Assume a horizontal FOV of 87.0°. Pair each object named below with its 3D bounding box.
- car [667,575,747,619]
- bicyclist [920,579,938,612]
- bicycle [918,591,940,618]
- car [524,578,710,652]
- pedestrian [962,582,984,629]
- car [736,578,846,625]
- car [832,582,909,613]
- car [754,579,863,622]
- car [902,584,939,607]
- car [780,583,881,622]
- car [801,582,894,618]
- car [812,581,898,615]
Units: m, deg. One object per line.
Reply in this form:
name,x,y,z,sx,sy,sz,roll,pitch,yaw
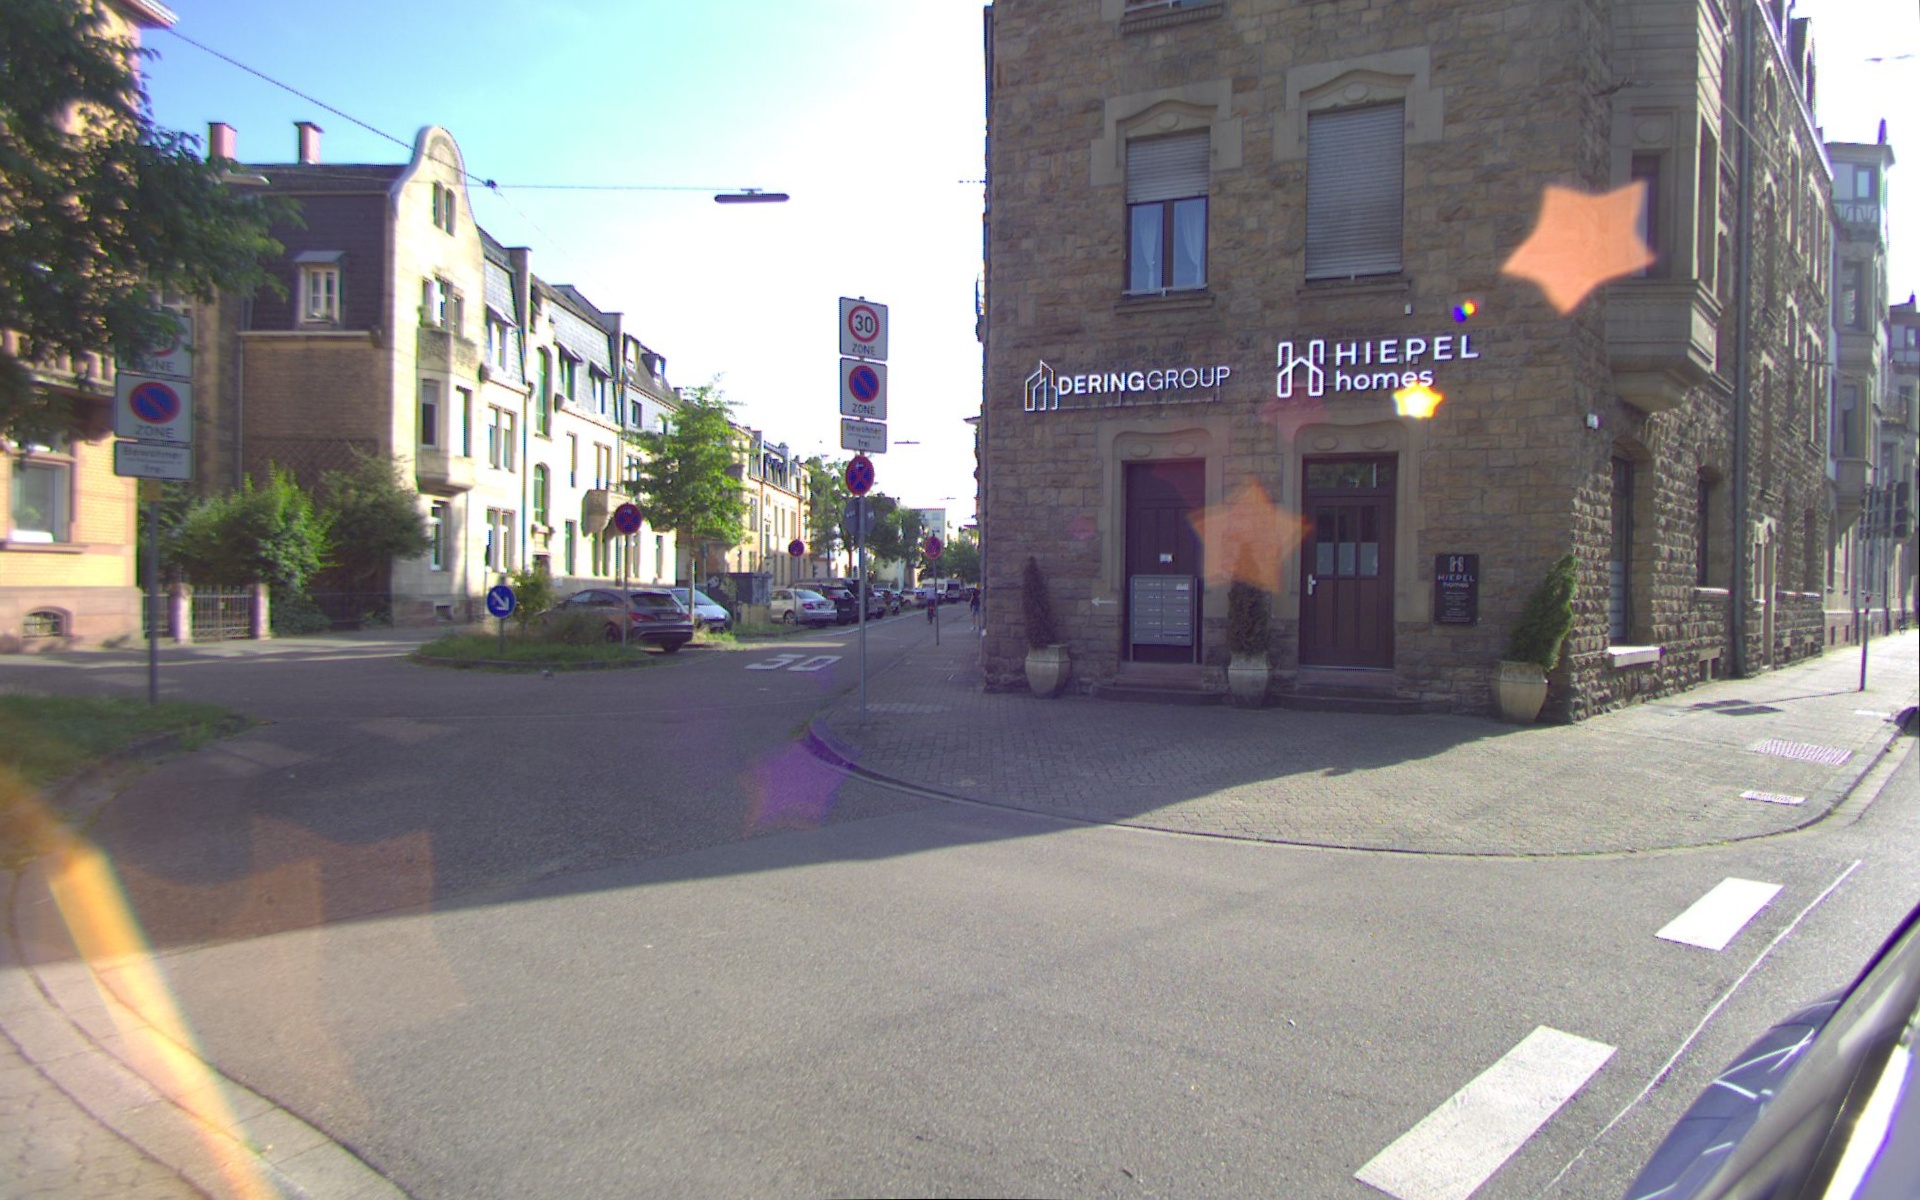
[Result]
car,-10.120,-0.120,40.799,1.964,1.672,3.995,0,0,4
bicyclist,-1.367,-0.199,45.321,0.731,1.474,0.653,0,-1,5
bicycle,-1.369,0.201,45.157,0.682,1.171,2.476,0,0,5
car,-7.905,0.306,23.155,4.430,1.533,1.972,0,0,39
pedestrian,0.467,0.196,36.565,0.750,1.696,0.782,0,-1,6
car,-6.409,0.054,38.221,3.981,1.672,1.971,0,0,40
car,-5.081,-0.148,57.717,3.954,1.672,1.985,0,0,23
car,-6.114,0.006,40.953,3.954,1.672,1.985,0,0,23
car,-2.928,-0.321,76.498,1.968,1.672,3.987,0,0,10
car,-5.655,0.092,44.248,3.954,1.672,1.985,0,0,23
car,-5.337,-0.011,48.039,3.954,1.672,1.985,0,0,23
car,-5.351,-0.102,51.681,3.954,1.672,1.985,0,0,23
